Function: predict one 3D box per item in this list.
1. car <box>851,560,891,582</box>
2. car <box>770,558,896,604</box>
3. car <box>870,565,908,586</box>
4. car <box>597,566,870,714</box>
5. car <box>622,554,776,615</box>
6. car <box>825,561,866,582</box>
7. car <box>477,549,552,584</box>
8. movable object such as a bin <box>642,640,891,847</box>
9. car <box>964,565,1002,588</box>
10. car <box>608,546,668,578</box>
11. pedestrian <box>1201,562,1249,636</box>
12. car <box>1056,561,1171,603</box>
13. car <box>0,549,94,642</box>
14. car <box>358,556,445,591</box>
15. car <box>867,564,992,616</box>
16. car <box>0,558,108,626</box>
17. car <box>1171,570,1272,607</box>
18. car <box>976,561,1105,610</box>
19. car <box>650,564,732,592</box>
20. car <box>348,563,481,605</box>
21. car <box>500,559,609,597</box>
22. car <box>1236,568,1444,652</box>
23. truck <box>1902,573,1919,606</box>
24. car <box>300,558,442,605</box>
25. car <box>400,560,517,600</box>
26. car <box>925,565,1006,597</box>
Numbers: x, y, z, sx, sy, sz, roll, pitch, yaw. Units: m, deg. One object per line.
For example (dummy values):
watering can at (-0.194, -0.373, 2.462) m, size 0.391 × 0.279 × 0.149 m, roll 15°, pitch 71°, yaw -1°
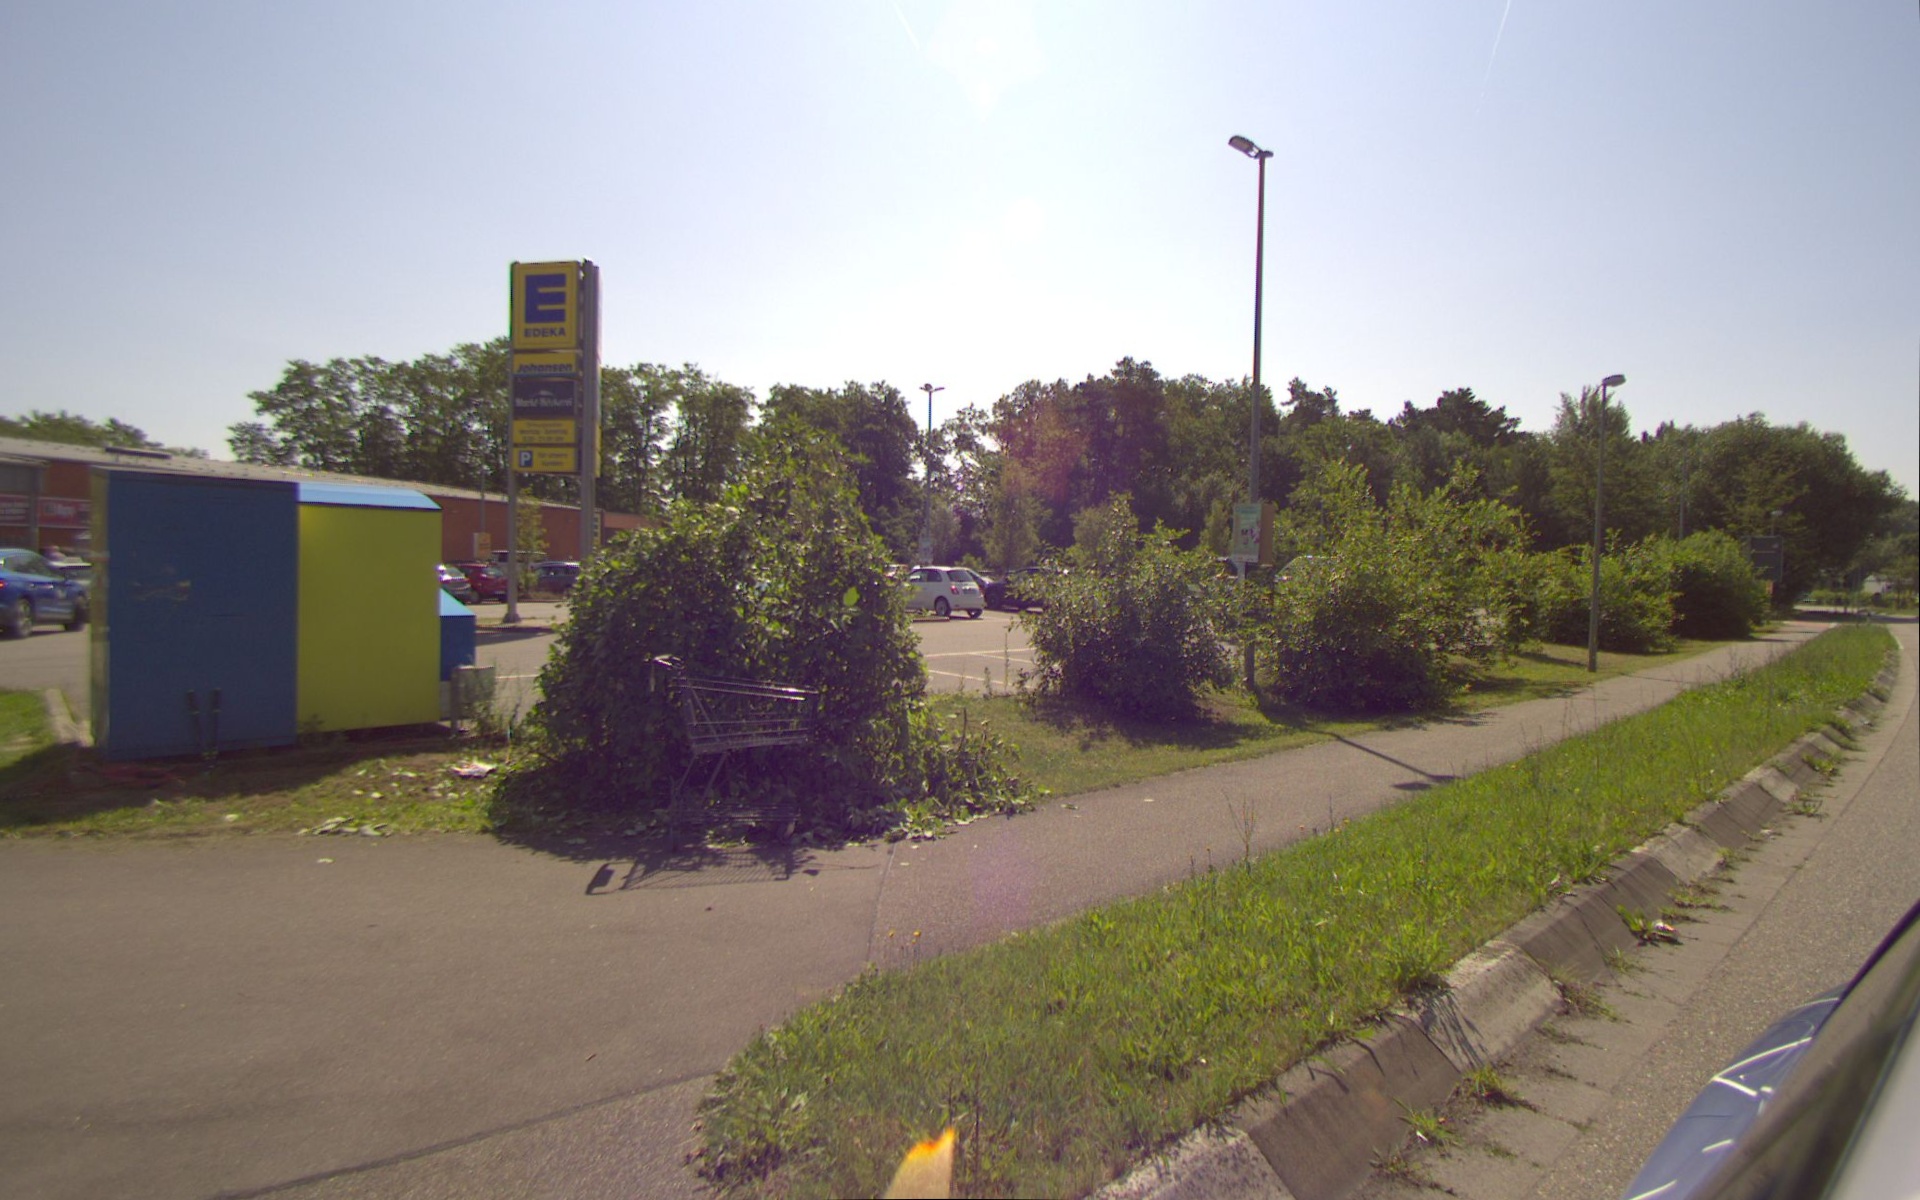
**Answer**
car at (-7.387, -2.388, 84.008) m, size 1.917 × 1.732 × 3.979 m, roll 2°, pitch 2°, yaw 17°
car at (-4.965, -0.712, 39.687) m, size 4.498 × 1.723 × 1.990 m, roll 0°, pitch 1°, yaw 17°
car at (-5.750, -1.991, 82.317) m, size 1.771 × 1.615 × 4.240 m, roll 2°, pitch 2°, yaw 16°
car at (-3.086, 0.416, 13.448) m, size 3.593 × 1.581 × 1.786 m, roll 4°, pitch 2°, yaw 42°
car at (-7.457, -0.452, 29.041) m, size 3.934 × 1.608 × 1.657 m, roll 2°, pitch 1°, yaw 9°
car at (-9.562, -2.380, 84.664) m, size 1.917 × 1.732 × 3.979 m, roll 2°, pitch 2°, yaw 17°
car at (-27.482, -2.056, 62.488) m, size 3.947 × 2.038 × 1.989 m, roll 2°, pitch 2°, yaw 18°
movable object such as a bin at (-1.255, 0.850, 6.443) m, size 1.424 × 1.134 × 0.873 m, roll 1°, pitch 1°, yaw -19°
car at (1.837, -1.840, 80.870) m, size 2.043 × 1.732 × 3.978 m, roll 1°, pitch 1°, yaw 17°
car at (-24.648, -2.904, 77.561) m, size 3.974 × 2.275 × 1.987 m, roll 2°, pitch 1°, yaw 20°
pedestrian at (6.709, -0.031, 25.632) m, size 0.852 × 1.820 × 0.819 m, roll 0°, pitch 2°, yaw -45°
car at (5.767, -0.685, 38.200) m, size 3.978 × 1.445 × 1.726 m, roll 3°, pitch 2°, yaw 37°
car at (-18.032, -0.152, 18.854) m, size 1.680 × 1.591 × 4.437 m, roll 1°, pitch 1°, yaw -24°
car at (-30.891, -1.485, 56.005) m, size 3.940 × 1.838 × 1.992 m, roll 1°, pitch 1°, yaw 13°
car at (-1.006, -0.352, 31.700) m, size 1.623 × 1.460 × 3.991 m, roll 0°, pitch 2°, yaw -44°
car at (-22.308, -0.228, 24.161) m, size 3.455 × 1.516 × 1.702 m, roll 2°, pitch 1°, yaw 24°
car at (11.620, -0.539, 45.090) m, size 3.948 × 1.471 × 1.882 m, roll 3°, pitch 2°, yaw 34°
car at (2.775, -0.528, 35.385) m, size 4.149 × 1.593 × 1.970 m, roll 2°, pitch 1°, yaw 41°
car at (-14.462, -1.178, 54.470) m, size 3.953 × 1.415 × 1.878 m, roll 2°, pitch 1°, yaw 22°
car at (-19.634, -0.588, 36.492) m, size 3.942 × 1.393 × 1.991 m, roll 1°, pitch 1°, yaw 15°
car at (-17.283, -0.939, 43.148) m, size 3.943 × 1.504 × 1.959 m, roll 2°, pitch 1°, yaw 15°
car at (8.702, 0.163, 23.384) m, size 4.122 × 1.647 × 1.724 m, roll 4°, pitch 3°, yaw 45°
truck at (107.722, -0.943, 107.995) m, size 10.300 × 3.435 × 3.827 m, roll 3°, pitch 2°, yaw 41°
car at (-19.658, -0.615, 33.811) m, size 3.945 × 1.438 × 1.972 m, roll 2°, pitch 1°, yaw 17°
car at (-19.256, -0.773, 38.891) m, size 3.945 × 1.415 × 1.707 m, roll 2°, pitch 1°, yaw 17°
car at (0.331, -1.057, 54.918) m, size 3.953 × 1.604 × 1.957 m, roll 2°, pitch 1°, yaw 22°
